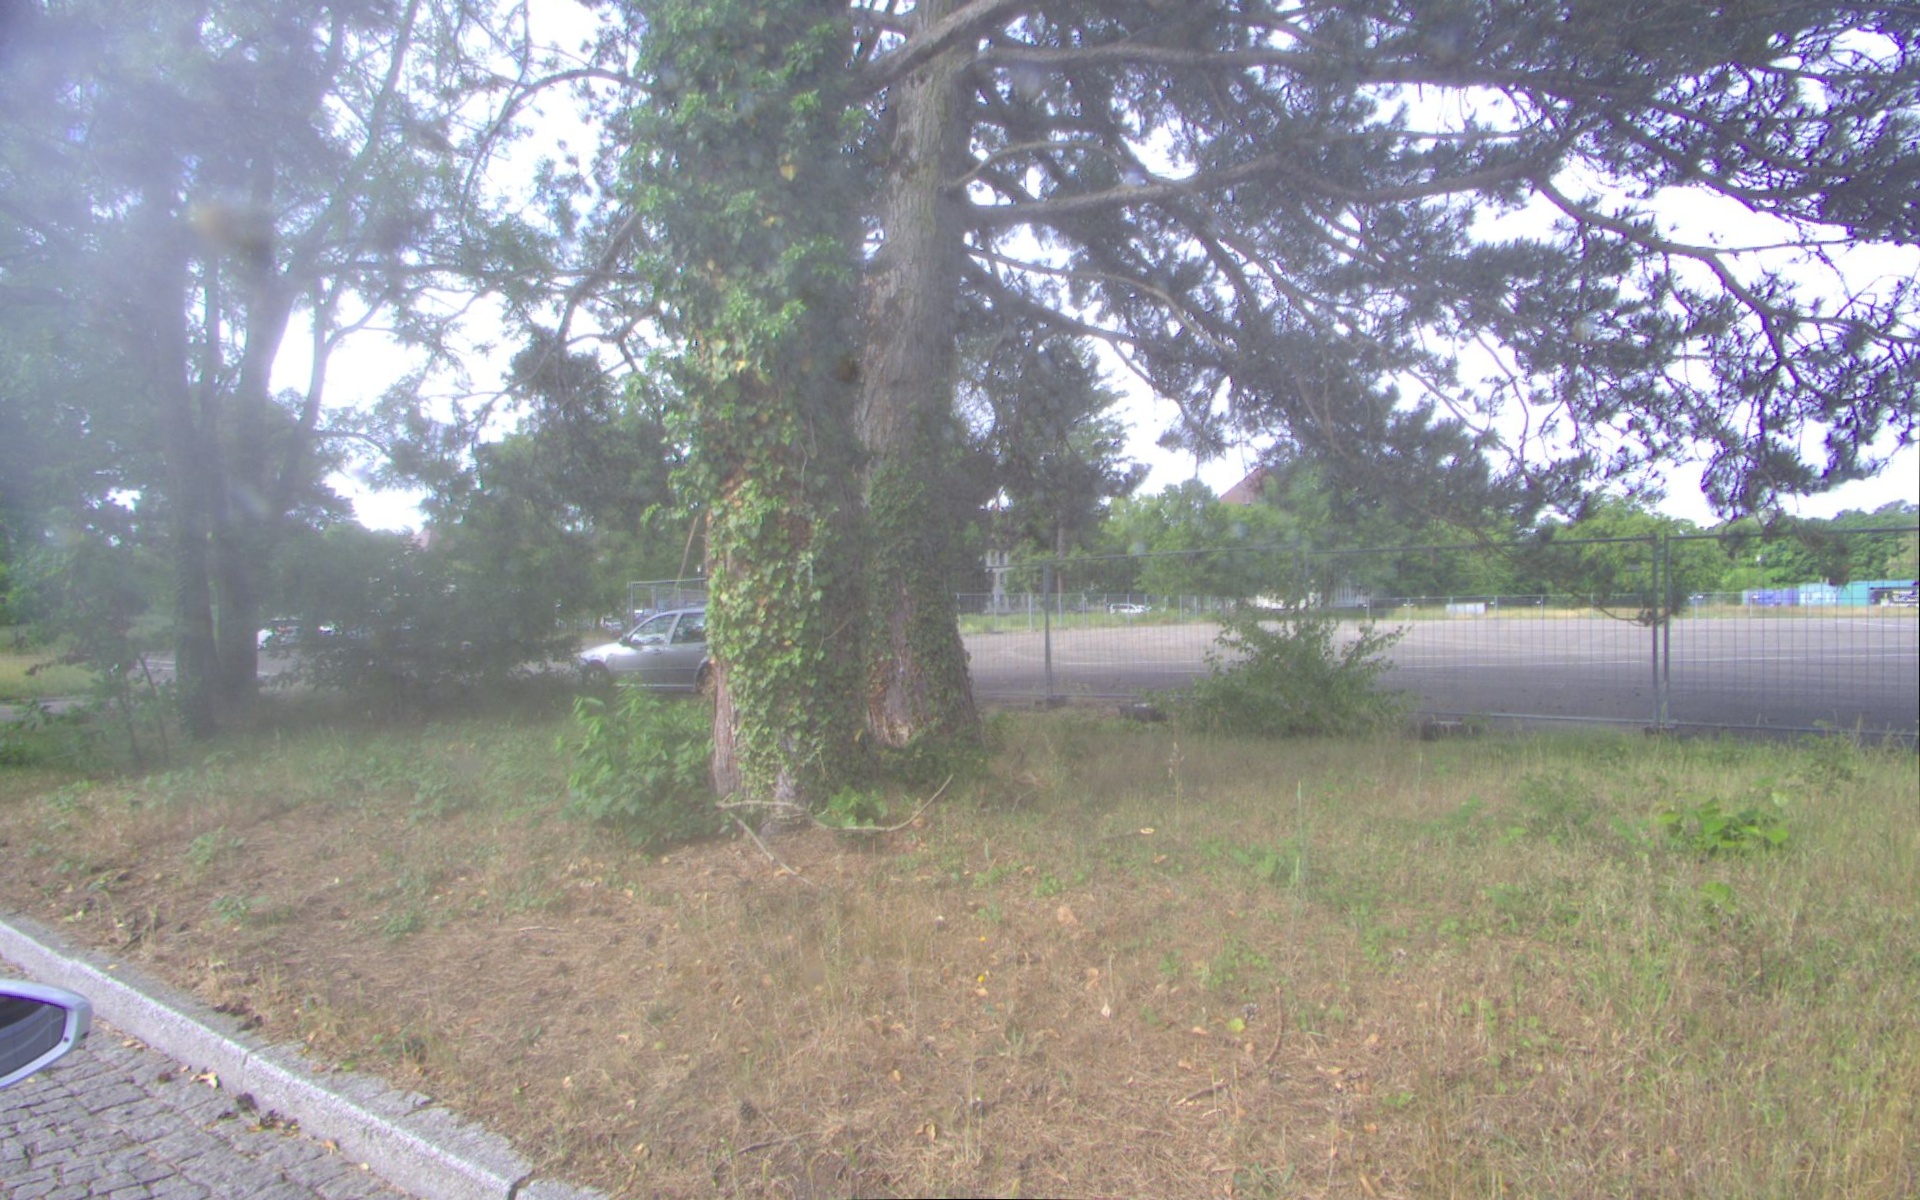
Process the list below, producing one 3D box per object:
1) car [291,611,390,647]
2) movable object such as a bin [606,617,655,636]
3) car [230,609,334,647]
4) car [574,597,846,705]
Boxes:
[{"bbox_3d":[-28.503,1.319,46.067,4.359,1.500,1.991,-3,-1,29],"label":"car"},{"bbox_3d":[-14.743,1.181,44.762,1.928,0.836,1.181,-1,0,37],"label":"movable object such as a bin"},{"bbox_3d":[-29.688,1.251,43.841,4.359,1.500,1.991,-3,-1,29],"label":"car"},{"bbox_3d":[-3.831,0.751,15.148,4.014,1.444,1.644,-1,-3,31],"label":"car"}]
